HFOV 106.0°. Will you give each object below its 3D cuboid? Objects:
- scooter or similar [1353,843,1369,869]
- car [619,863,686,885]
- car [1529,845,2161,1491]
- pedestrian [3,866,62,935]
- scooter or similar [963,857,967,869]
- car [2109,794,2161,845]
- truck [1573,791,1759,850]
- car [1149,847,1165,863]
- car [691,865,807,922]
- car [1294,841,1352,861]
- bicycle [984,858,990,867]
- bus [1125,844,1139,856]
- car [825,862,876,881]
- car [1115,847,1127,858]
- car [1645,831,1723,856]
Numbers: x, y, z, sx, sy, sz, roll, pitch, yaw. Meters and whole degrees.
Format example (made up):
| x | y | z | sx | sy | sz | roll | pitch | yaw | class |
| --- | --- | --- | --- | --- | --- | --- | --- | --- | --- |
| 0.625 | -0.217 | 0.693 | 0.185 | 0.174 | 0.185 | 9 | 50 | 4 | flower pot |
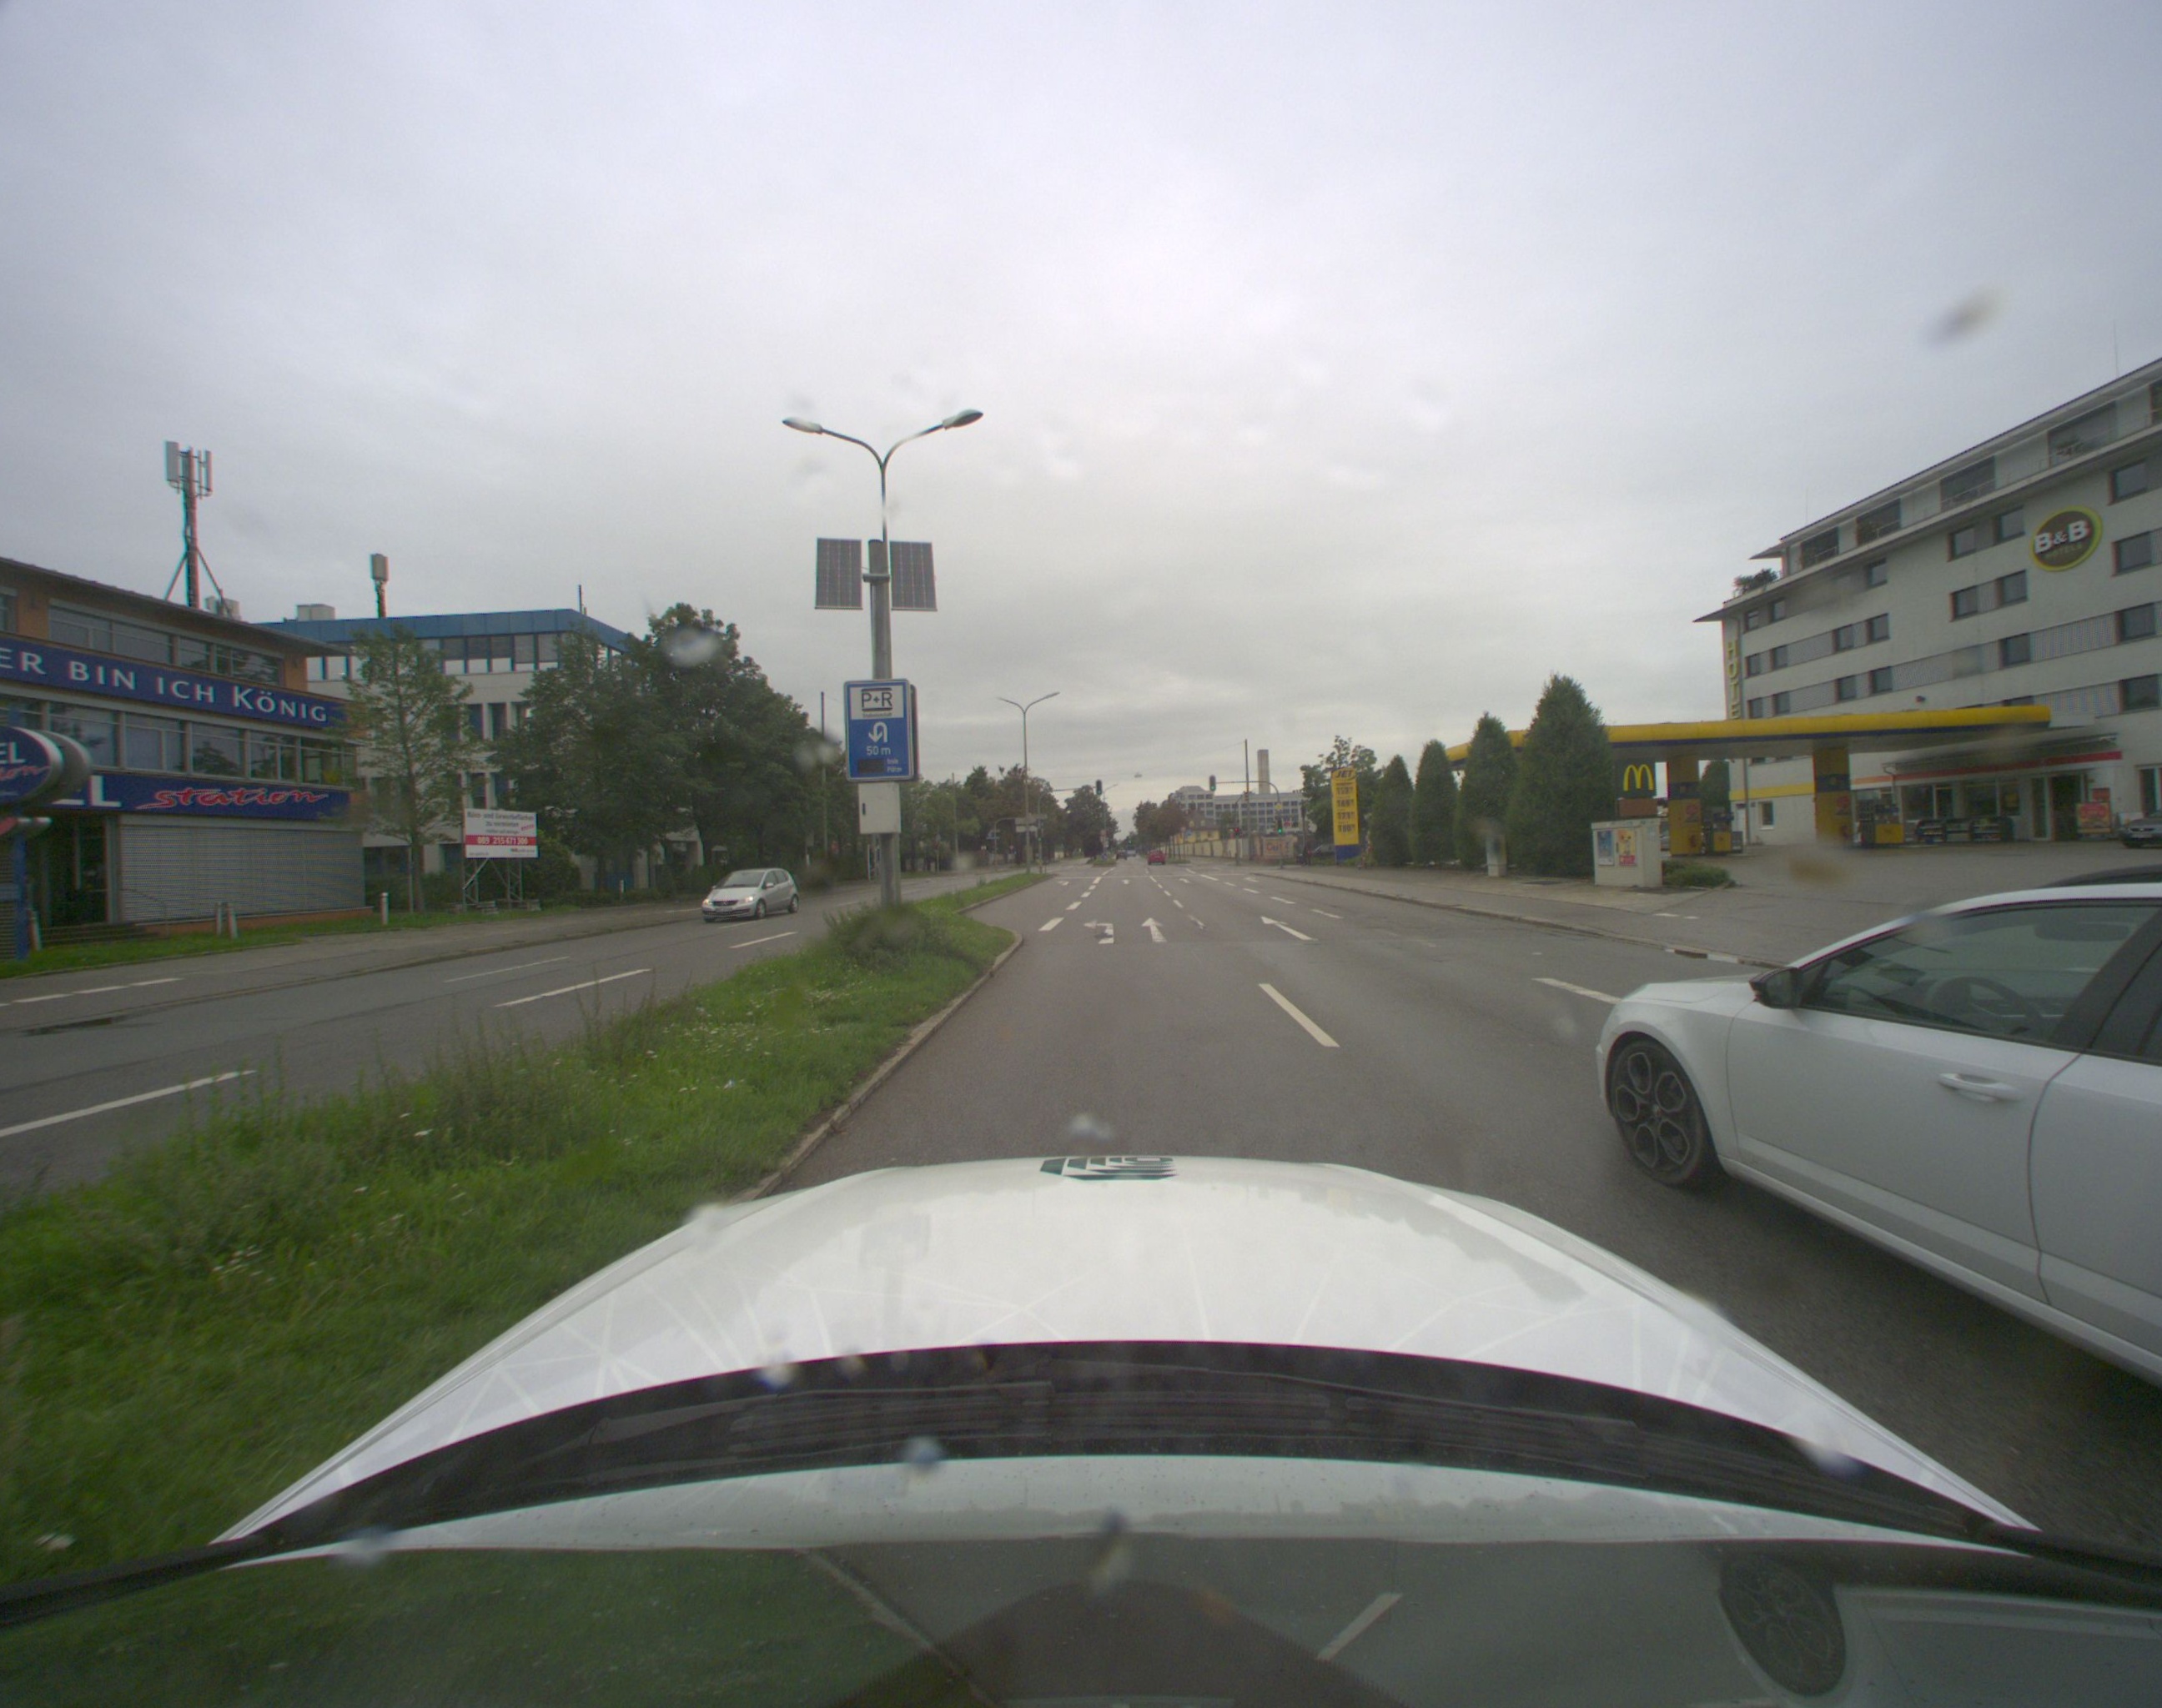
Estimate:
| x | y | z | sx | sy | sz | roll | pitch | yaw | class |
| --- | --- | --- | --- | --- | --- | --- | --- | --- | --- |
| 13.997 | 0.096 | 40.746 | 0.354 | 1.242 | 1.548 | -5 | -1 | 7 | scooter or similar |
| -30.300 | 1.410 | 57.619 | 4.128 | 1.418 | 1.879 | -1 | 0 | 19 | car |
| 3.424 | 0.718 | 2.307 | 1.871 | 1.468 | 4.502 | -1 | 0 | 1 | car |
| -26.672 | 1.169 | 20.716 | 0.654 | 1.712 | 0.664 | -1 | 0 | 8 | pedestrian |
| -13.643 | 1.087 | 96.033 | 0.370 | 1.424 | 1.399 | -1 | 0 | -13 | scooter or similar |
| 35.700 | -1.164 | 25.849 | 3.973 | 1.587 | 1.706 | -2 | 0 | 0 | car |
| 44.826 | -2.534 | 62.702 | 11.841 | 3.855 | 2.613 | -3 | 0 | 5 | truck |
| 8.317 | 0.095 | 89.384 | 1.478 | 1.715 | 3.552 | -1 | 0 | 1 | car |
| -10.644 | 1.210 | 26.472 | 1.806 | 1.557 | 4.031 | -3 | 0 | 4 | car |
| 19.716 | -0.219 | 66.503 | 4.230 | 1.428 | 2.003 | -3 | 0 | 5 | car |
| -13.351 | 1.193 | 115.380 | 0.580 | 1.295 | 2.454 | -1 | 0 | 0 | bicycle |
| 13.753 | -0.994 | 220.099 | 3.209 | 3.127 | 10.348 | -1 | 0 | 1 | bus |
| -22.354 | 1.707 | 79.121 | 4.241 | 1.574 | 2.007 | -3 | 2 | 11 | car |
| 6.976 | -0.287 | 142.781 | 2.076 | 1.866 | 4.387 | -1 | 0 | 1 | car |
| 37.859 | -0.658 | 51.284 | 1.895 | 1.478 | 4.195 | -1 | 0 | 2 | car |
